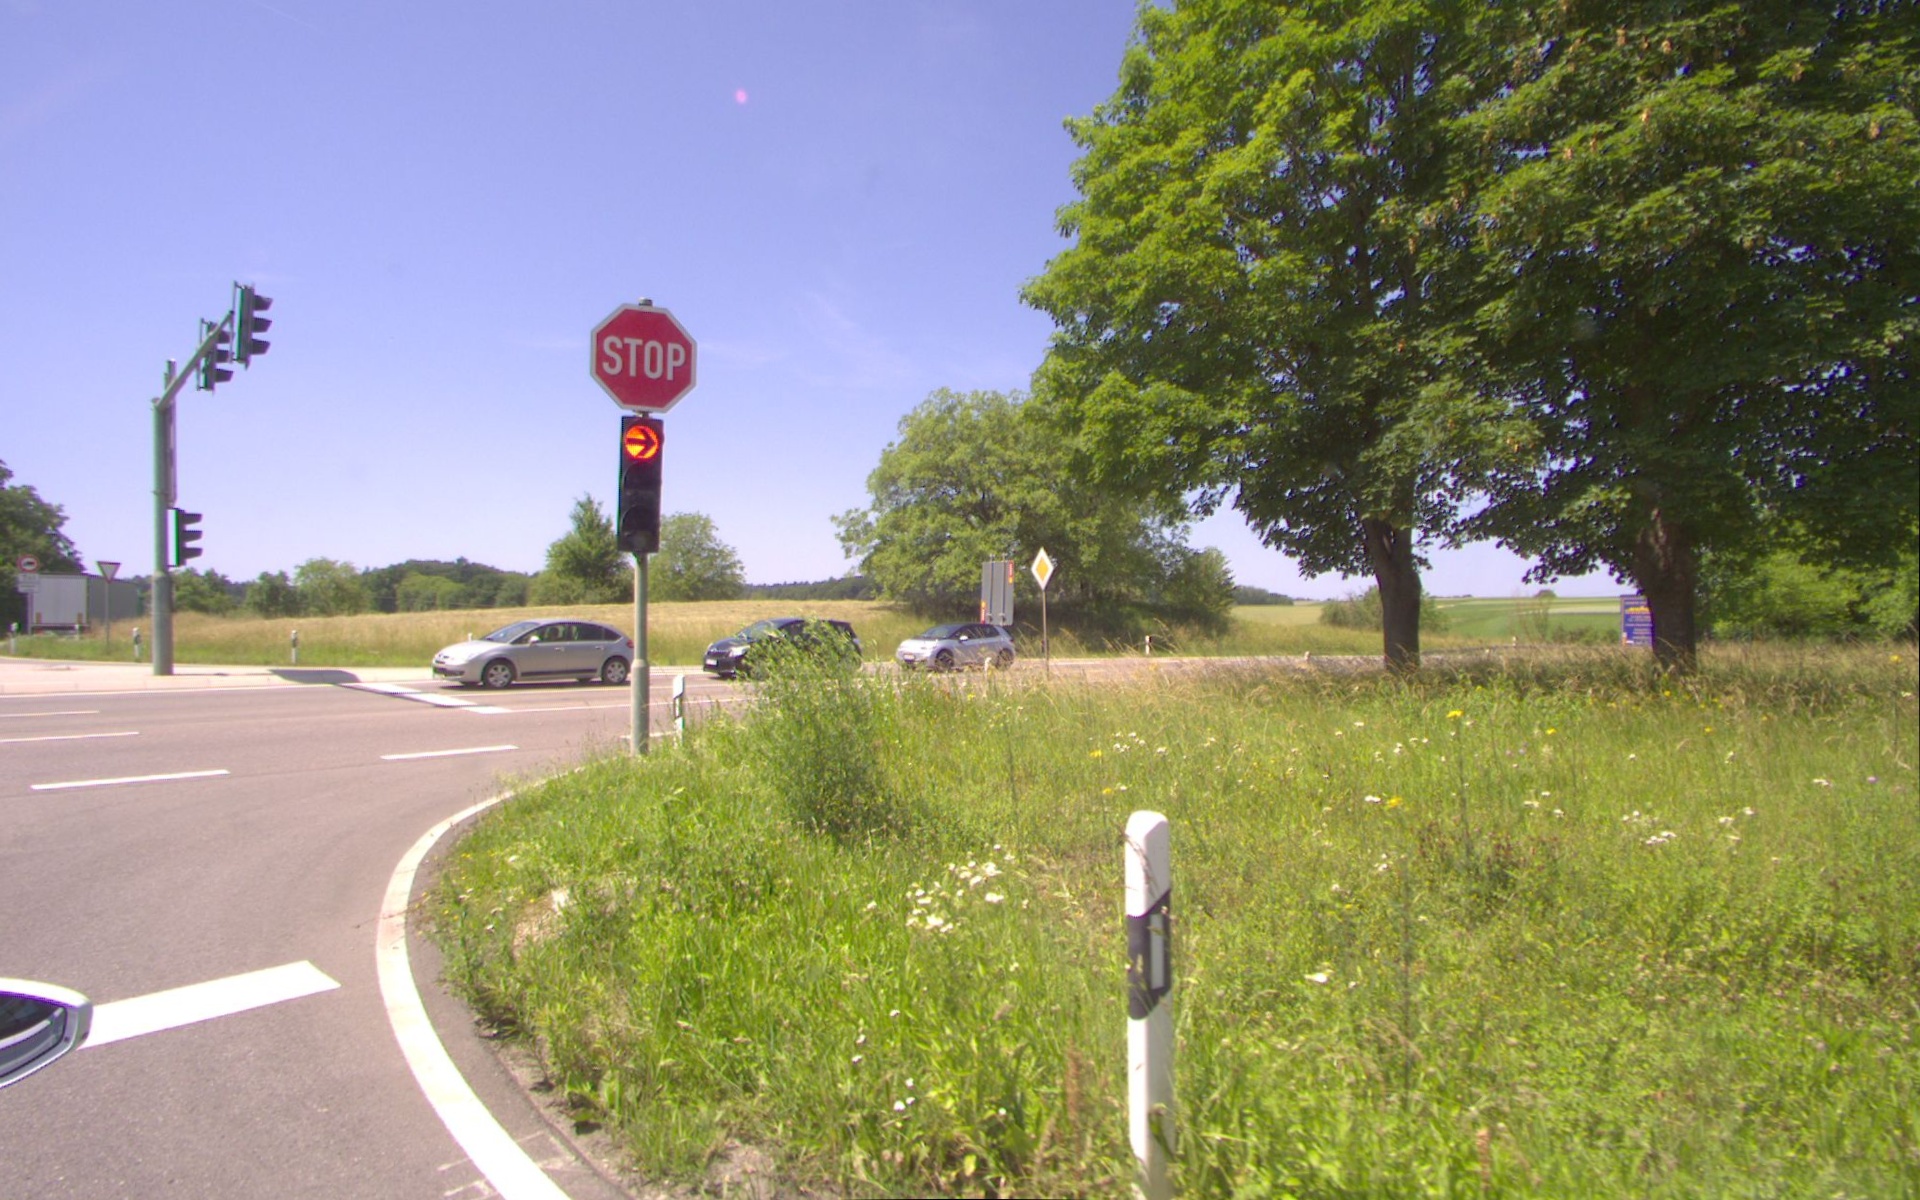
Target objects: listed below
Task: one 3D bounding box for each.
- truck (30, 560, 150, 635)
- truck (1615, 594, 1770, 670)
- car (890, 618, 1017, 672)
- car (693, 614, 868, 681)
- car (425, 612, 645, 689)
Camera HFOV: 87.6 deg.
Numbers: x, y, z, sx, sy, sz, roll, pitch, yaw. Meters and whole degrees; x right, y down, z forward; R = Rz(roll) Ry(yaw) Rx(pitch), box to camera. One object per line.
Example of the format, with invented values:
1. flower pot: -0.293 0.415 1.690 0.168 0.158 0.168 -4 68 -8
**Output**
1. truck: -55.442 0.007 64.353 3.093 4.226 16.591 1 -1 -32
2. truck: 45.222 1.987 61.445 16.607 4.185 2.831 2 -1 -37
3. car: -0.153 1.416 32.042 3.982 1.573 1.639 2 0 -43
4. car: -4.701 1.244 26.625 4.340 1.573 1.712 2 0 -43
5. car: -9.295 1.087 22.144 1.710 1.489 4.134 2 0 44
